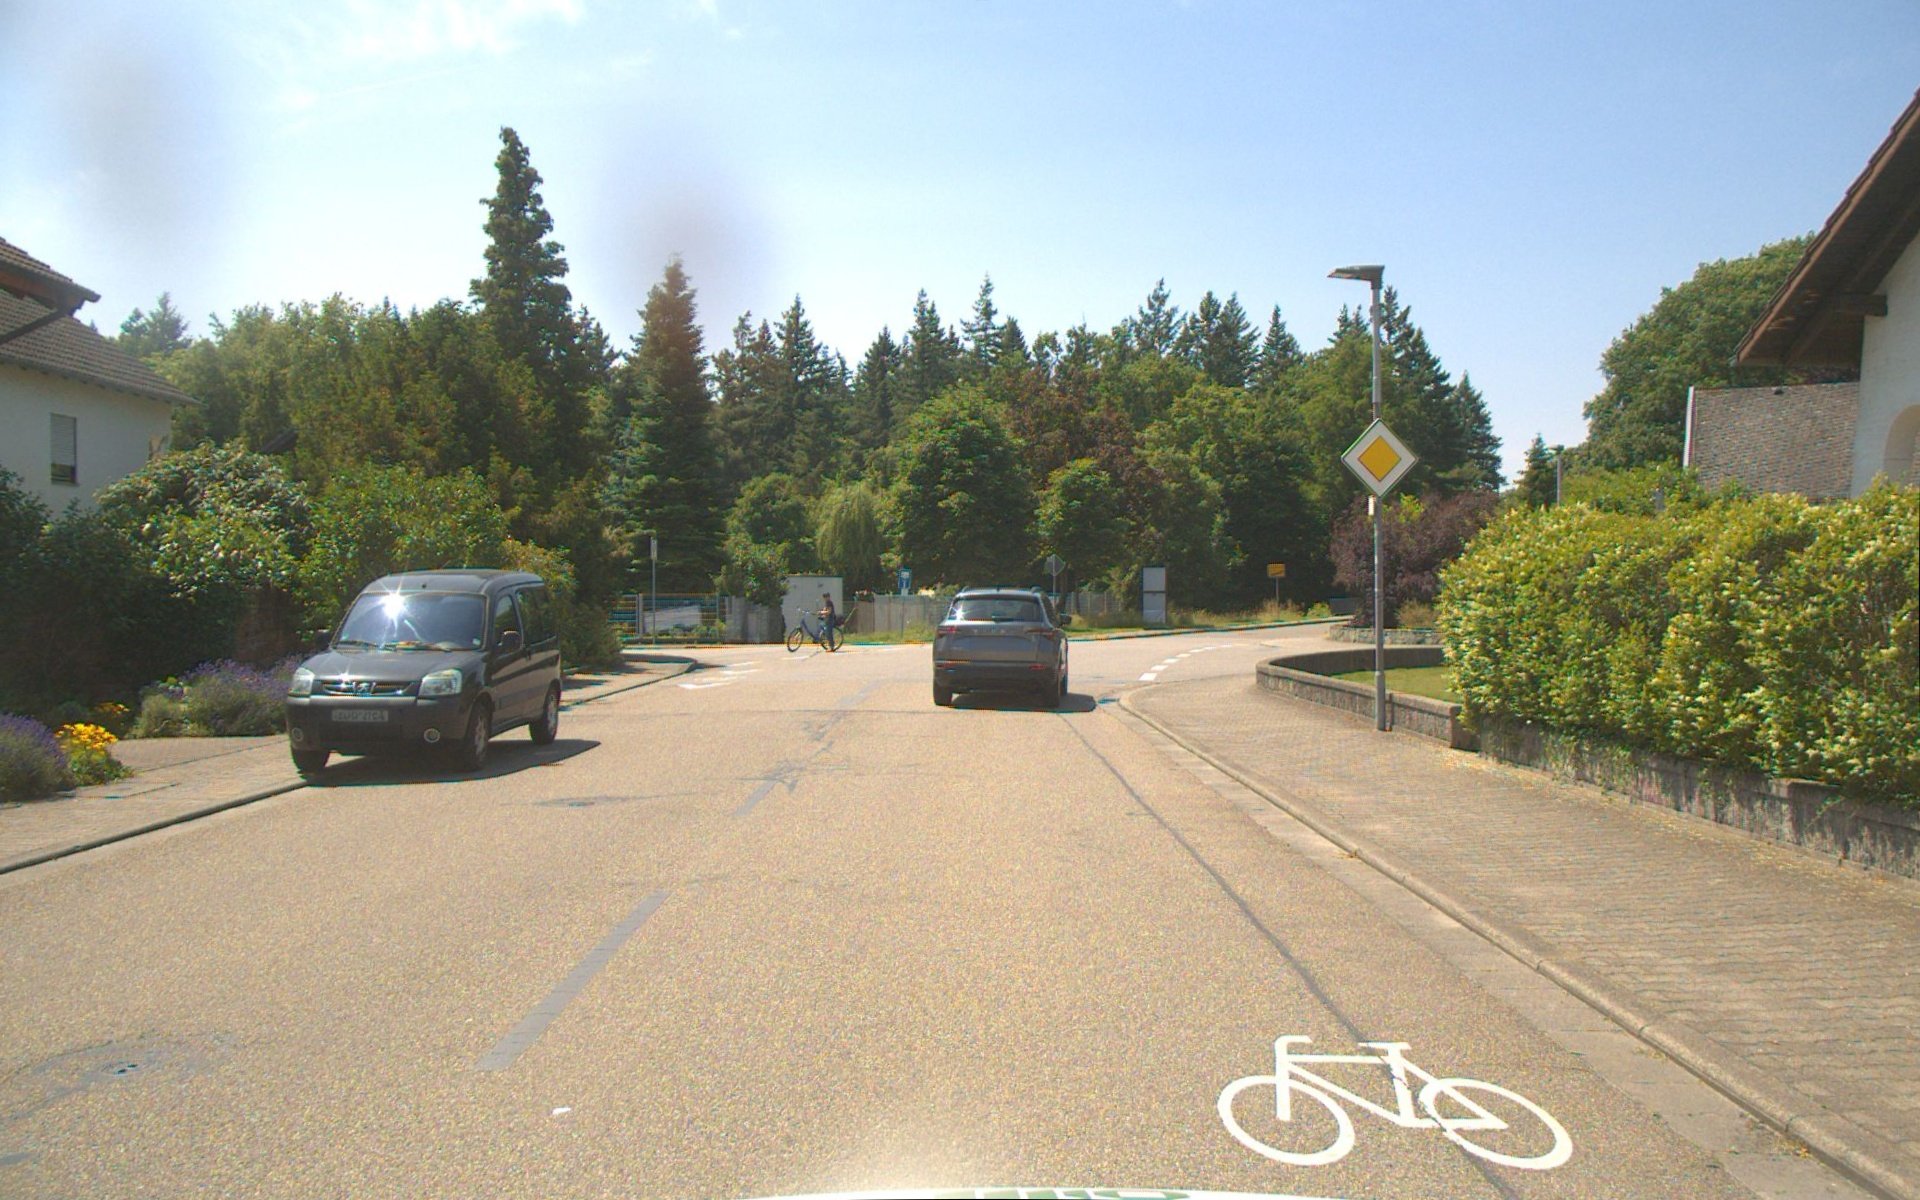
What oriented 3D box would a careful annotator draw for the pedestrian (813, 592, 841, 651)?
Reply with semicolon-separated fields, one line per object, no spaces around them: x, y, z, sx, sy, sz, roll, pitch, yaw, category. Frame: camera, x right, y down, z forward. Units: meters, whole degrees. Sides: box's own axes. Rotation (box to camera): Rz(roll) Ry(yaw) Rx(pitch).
-3.502;0.553;43.490;0.601;1.527;0.501;0;0;-21;pedestrian

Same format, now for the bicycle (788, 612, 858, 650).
-3.638;0.811;43.900;1.815;0.980;0.441;-1;0;-20;bicycle

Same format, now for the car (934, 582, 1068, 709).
0.513;0.599;23.875;1.726;1.646;3.999;1;0;-1;car

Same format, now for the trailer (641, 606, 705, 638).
-10.158;0.769;58.588;2.173;1.103;1.104;-1;0;-8;trailer

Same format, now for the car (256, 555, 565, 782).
-5.080;0.565;15.868;1.683;1.878;4.053;-1;0;-1;car
